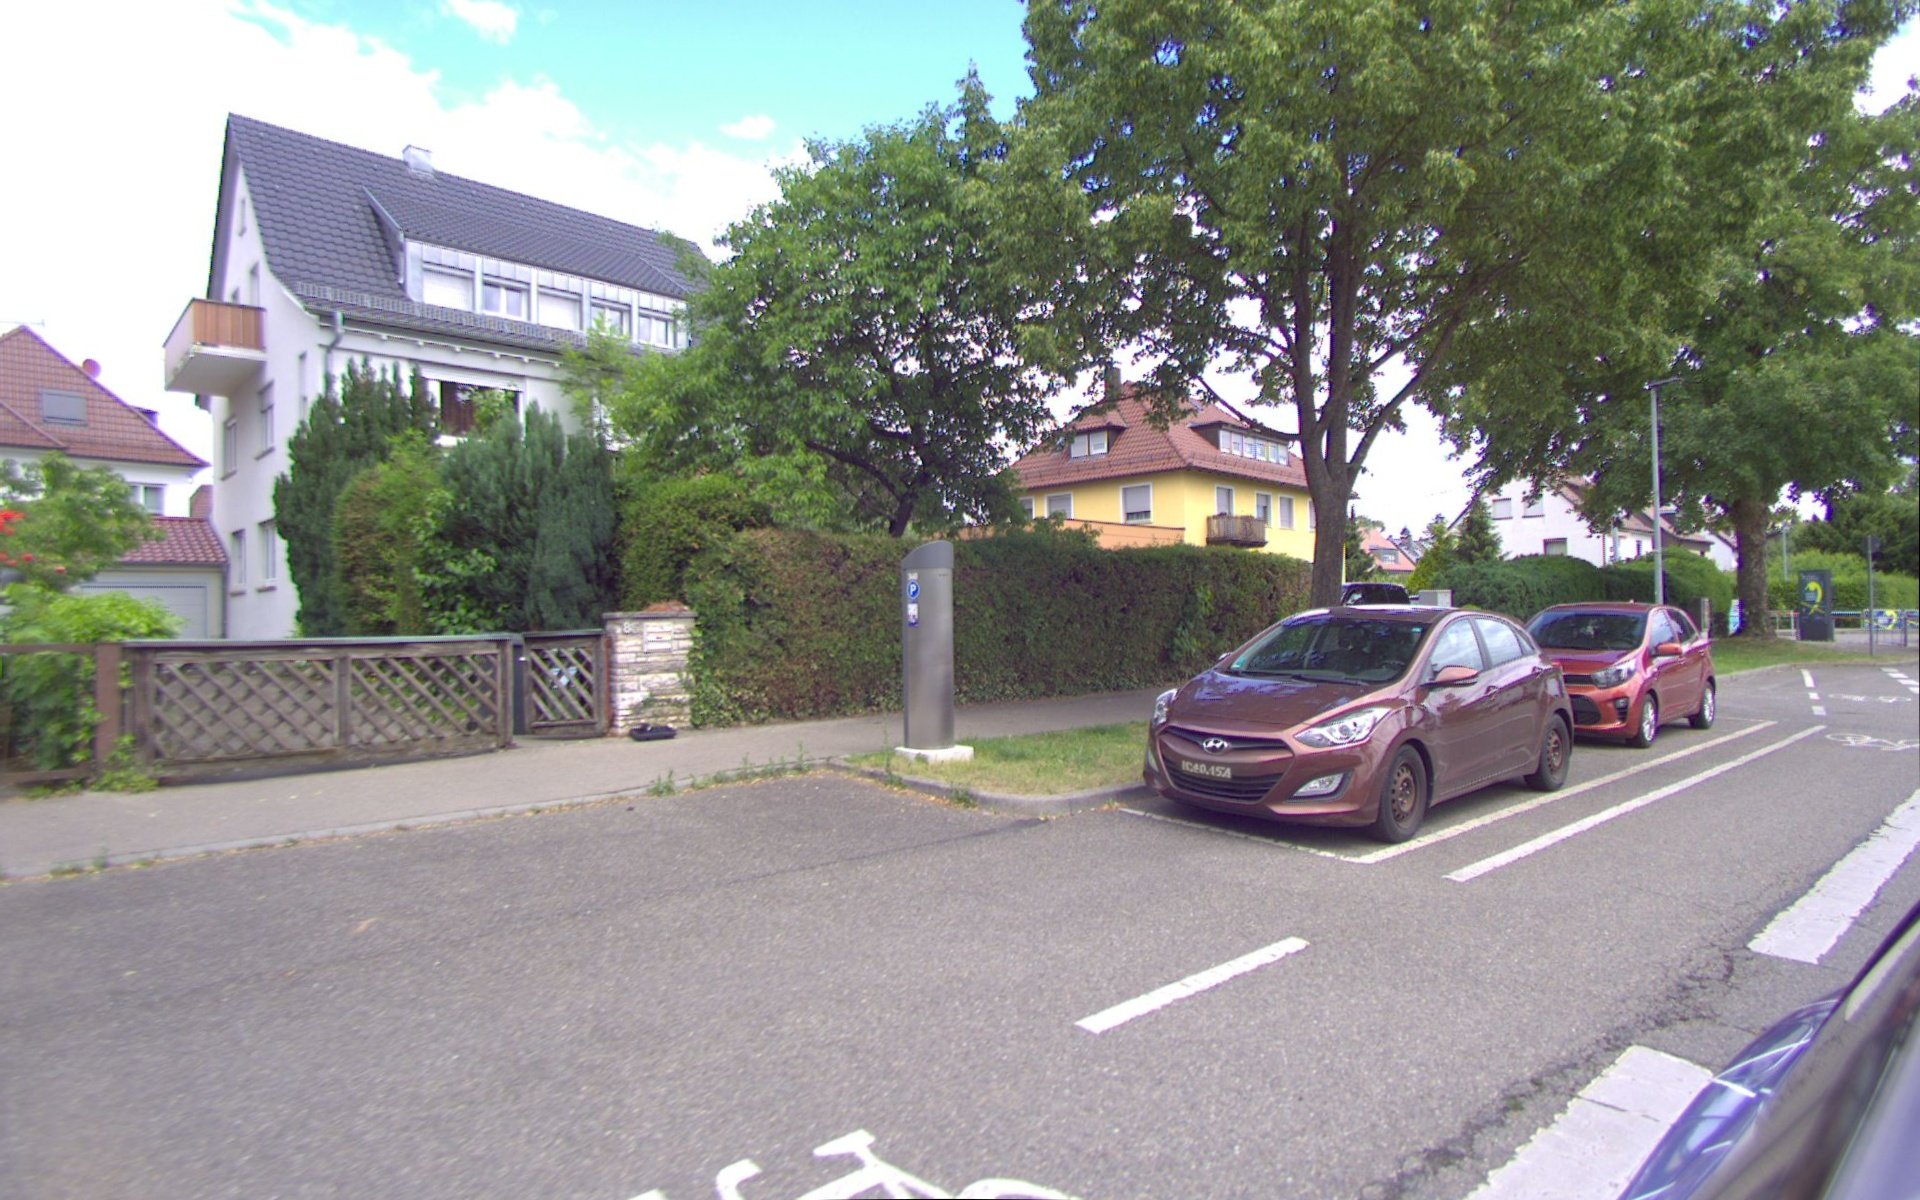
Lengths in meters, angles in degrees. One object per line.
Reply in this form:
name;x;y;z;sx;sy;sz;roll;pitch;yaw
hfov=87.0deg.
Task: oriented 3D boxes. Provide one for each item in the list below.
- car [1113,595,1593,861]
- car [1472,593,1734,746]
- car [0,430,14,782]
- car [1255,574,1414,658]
car;3.113;0.710;7.564;4.104;1.434;1.655;0;1;-42
car;7.409;0.674;11.544;3.604;1.474;1.568;0;0;-41
car;-9.800;0.026;8.919;1.965;2.625;5.716;2;-1;-44
car;9.384;0.387;25.189;4.390;1.905;1.818;0;-2;-41
